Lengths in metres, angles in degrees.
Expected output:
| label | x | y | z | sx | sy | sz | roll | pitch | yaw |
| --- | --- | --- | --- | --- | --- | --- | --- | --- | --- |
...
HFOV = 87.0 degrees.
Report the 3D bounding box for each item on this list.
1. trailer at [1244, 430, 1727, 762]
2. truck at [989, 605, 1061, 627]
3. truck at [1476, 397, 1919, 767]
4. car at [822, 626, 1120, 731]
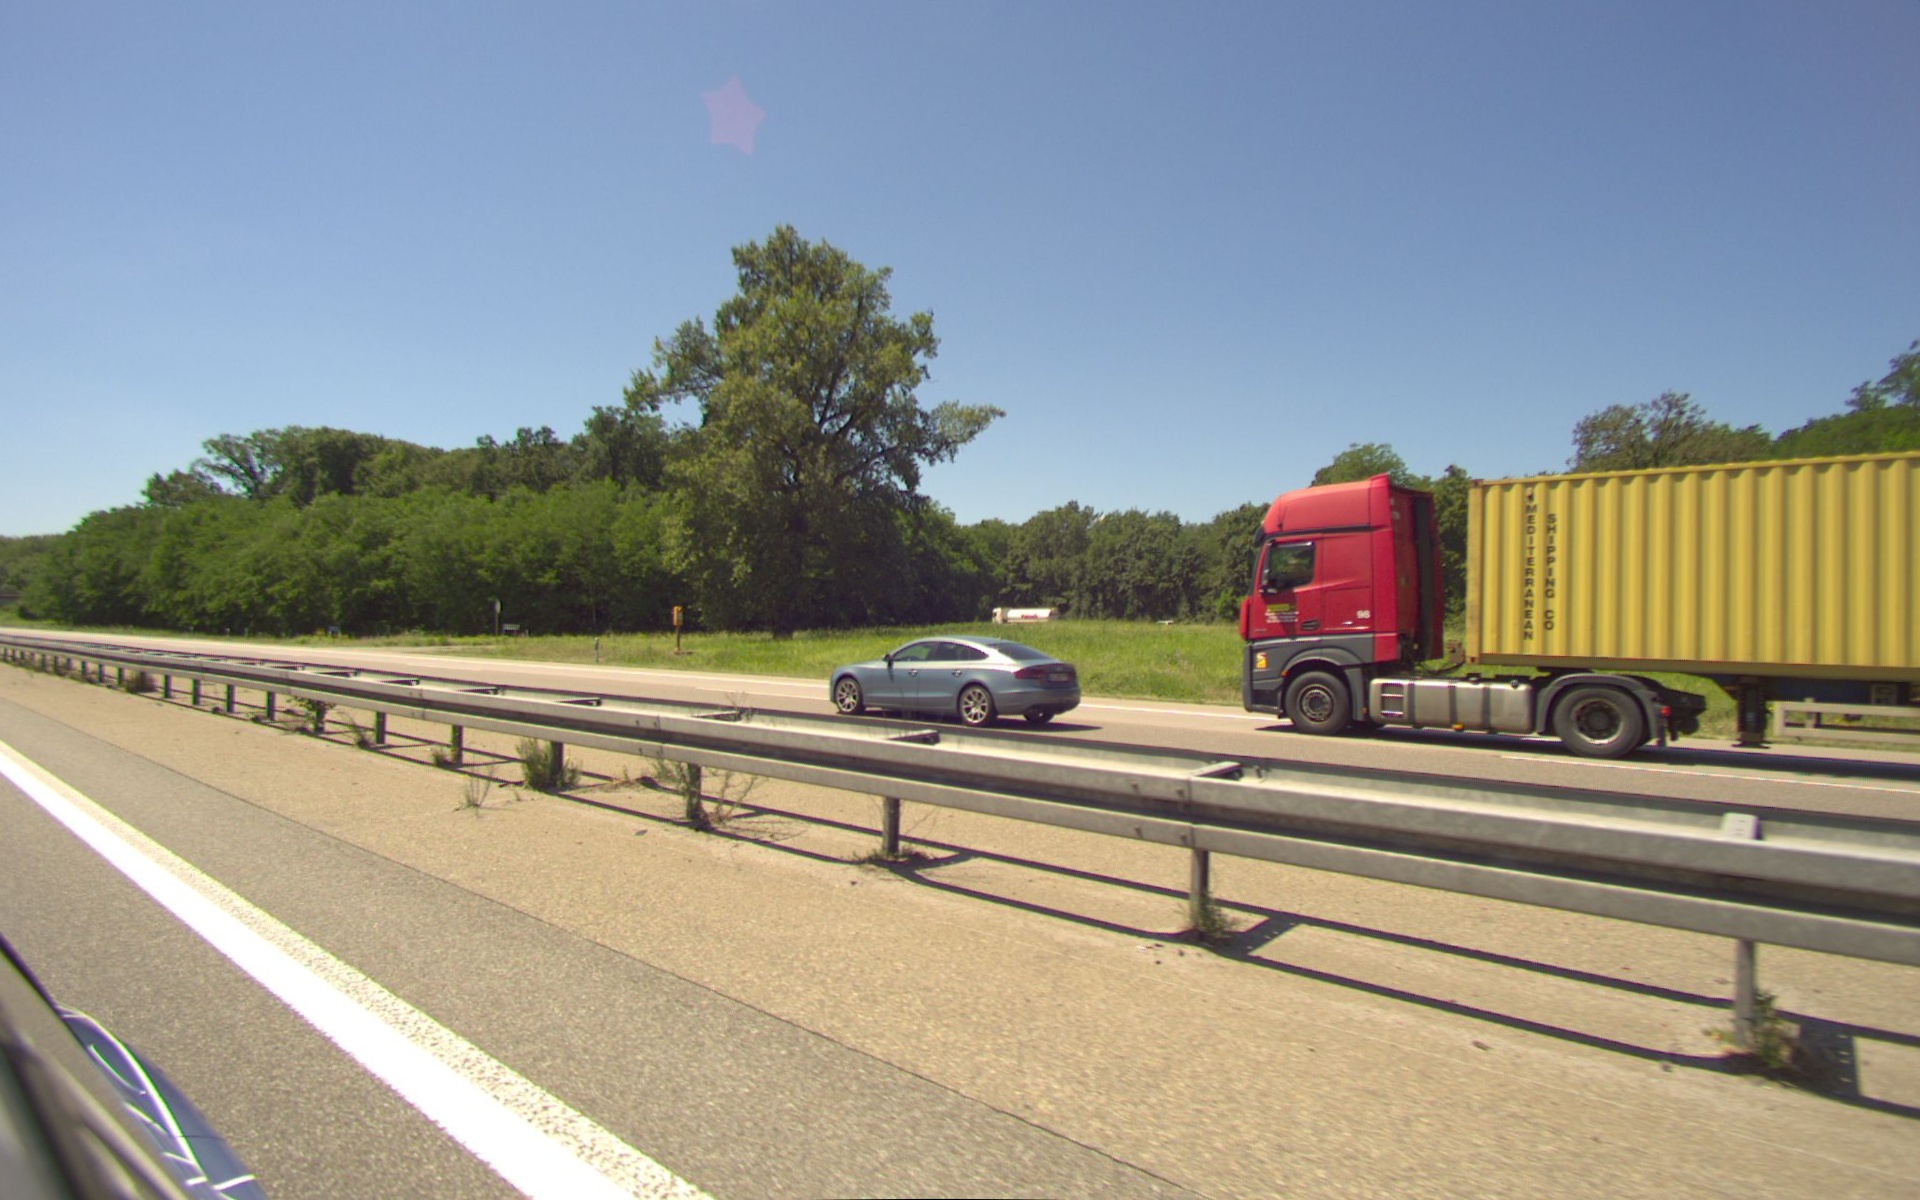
| label | x | y | z | sx | sy | sz | roll | pitch | yaw |
| --- | --- | --- | --- | --- | --- | --- | --- | --- | --- |
| trailer | 7.640 | 0.009 | 15.183 | 6.024 | 4.022 | 2.576 | -1 | -2 | 40 |
| truck | 10.139 | 2.568 | 161.188 | 2.663 | 3.307 | 14.815 | -1 | 0 | -36 |
| truck | 12.772 | -0.161 | 10.864 | 12.686 | 4.078 | 2.572 | -1 | -4 | 41 |
| car | 0.062 | 1.203 | 16.394 | 4.782 | 1.391 | 1.703 | 0 | -5 | 40 |
